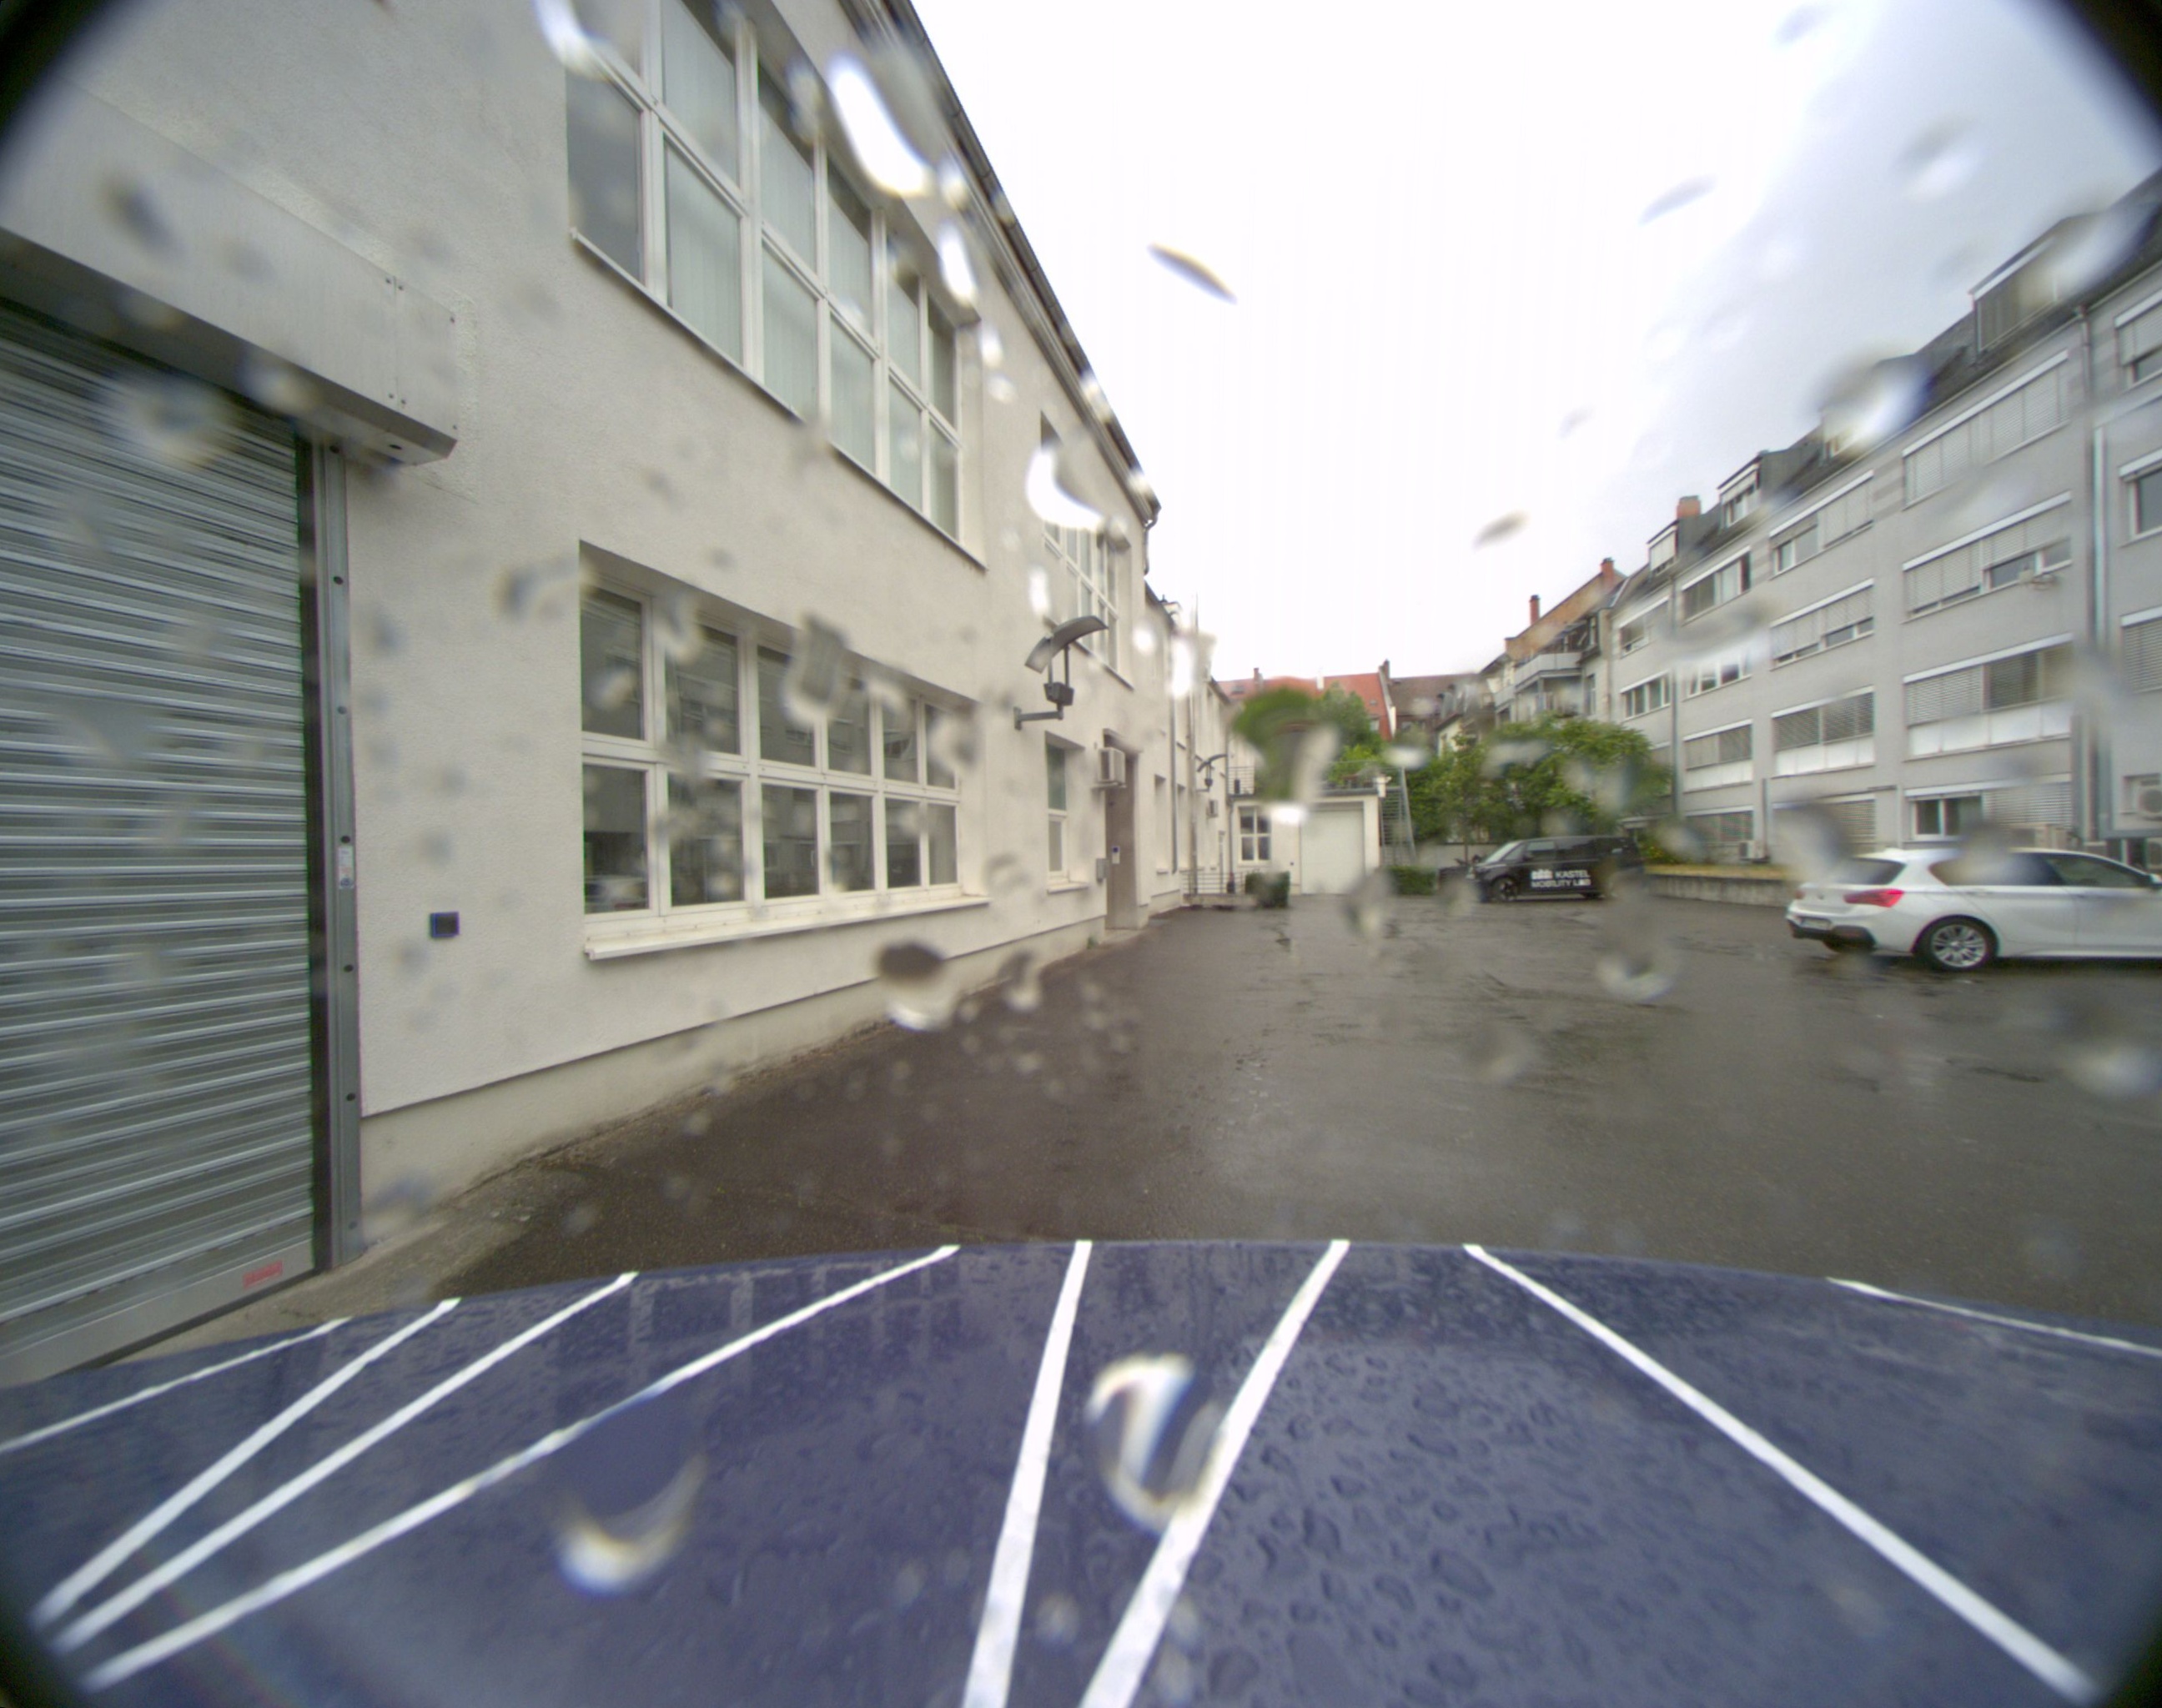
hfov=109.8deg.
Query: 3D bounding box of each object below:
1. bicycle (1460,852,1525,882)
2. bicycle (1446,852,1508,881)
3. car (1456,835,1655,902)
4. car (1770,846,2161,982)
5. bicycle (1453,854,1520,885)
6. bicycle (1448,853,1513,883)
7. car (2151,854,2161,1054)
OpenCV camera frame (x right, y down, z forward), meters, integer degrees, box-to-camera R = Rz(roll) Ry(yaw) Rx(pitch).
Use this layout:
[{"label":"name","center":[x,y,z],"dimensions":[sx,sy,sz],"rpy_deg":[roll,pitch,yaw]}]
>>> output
[{"label":"bicycle","center":[17.394,0.552,32.171],"dimensions":[2.316,1.180,0.644],"rpy_deg":[-1,3,19]},{"label":"bicycle","center":[17.067,0.540,32.814],"dimensions":[2.316,1.180,0.644],"rpy_deg":[-1,3,19]},{"label":"car","center":[14.024,0.452,22.773],"dimensions":[4.624,1.825,1.990],"rpy_deg":[-2,-1,11]},{"label":"car","center":[11.306,0.665,9.137],"dimensions":[4.145,1.425,1.755],"rpy_deg":[-1,1,14]},{"label":"bicycle","center":[16.482,0.631,30.936],"dimensions":[2.316,1.180,0.644],"rpy_deg":[-1,3,19]},{"label":"bicycle","center":[16.661,0.595,31.718],"dimensions":[2.316,1.180,0.644],"rpy_deg":[-1,3,19]},{"label":"car","center":[9.768,0.690,4.260],"dimensions":[4.171,1.475,1.824],"rpy_deg":[-1,-1,14]}]
